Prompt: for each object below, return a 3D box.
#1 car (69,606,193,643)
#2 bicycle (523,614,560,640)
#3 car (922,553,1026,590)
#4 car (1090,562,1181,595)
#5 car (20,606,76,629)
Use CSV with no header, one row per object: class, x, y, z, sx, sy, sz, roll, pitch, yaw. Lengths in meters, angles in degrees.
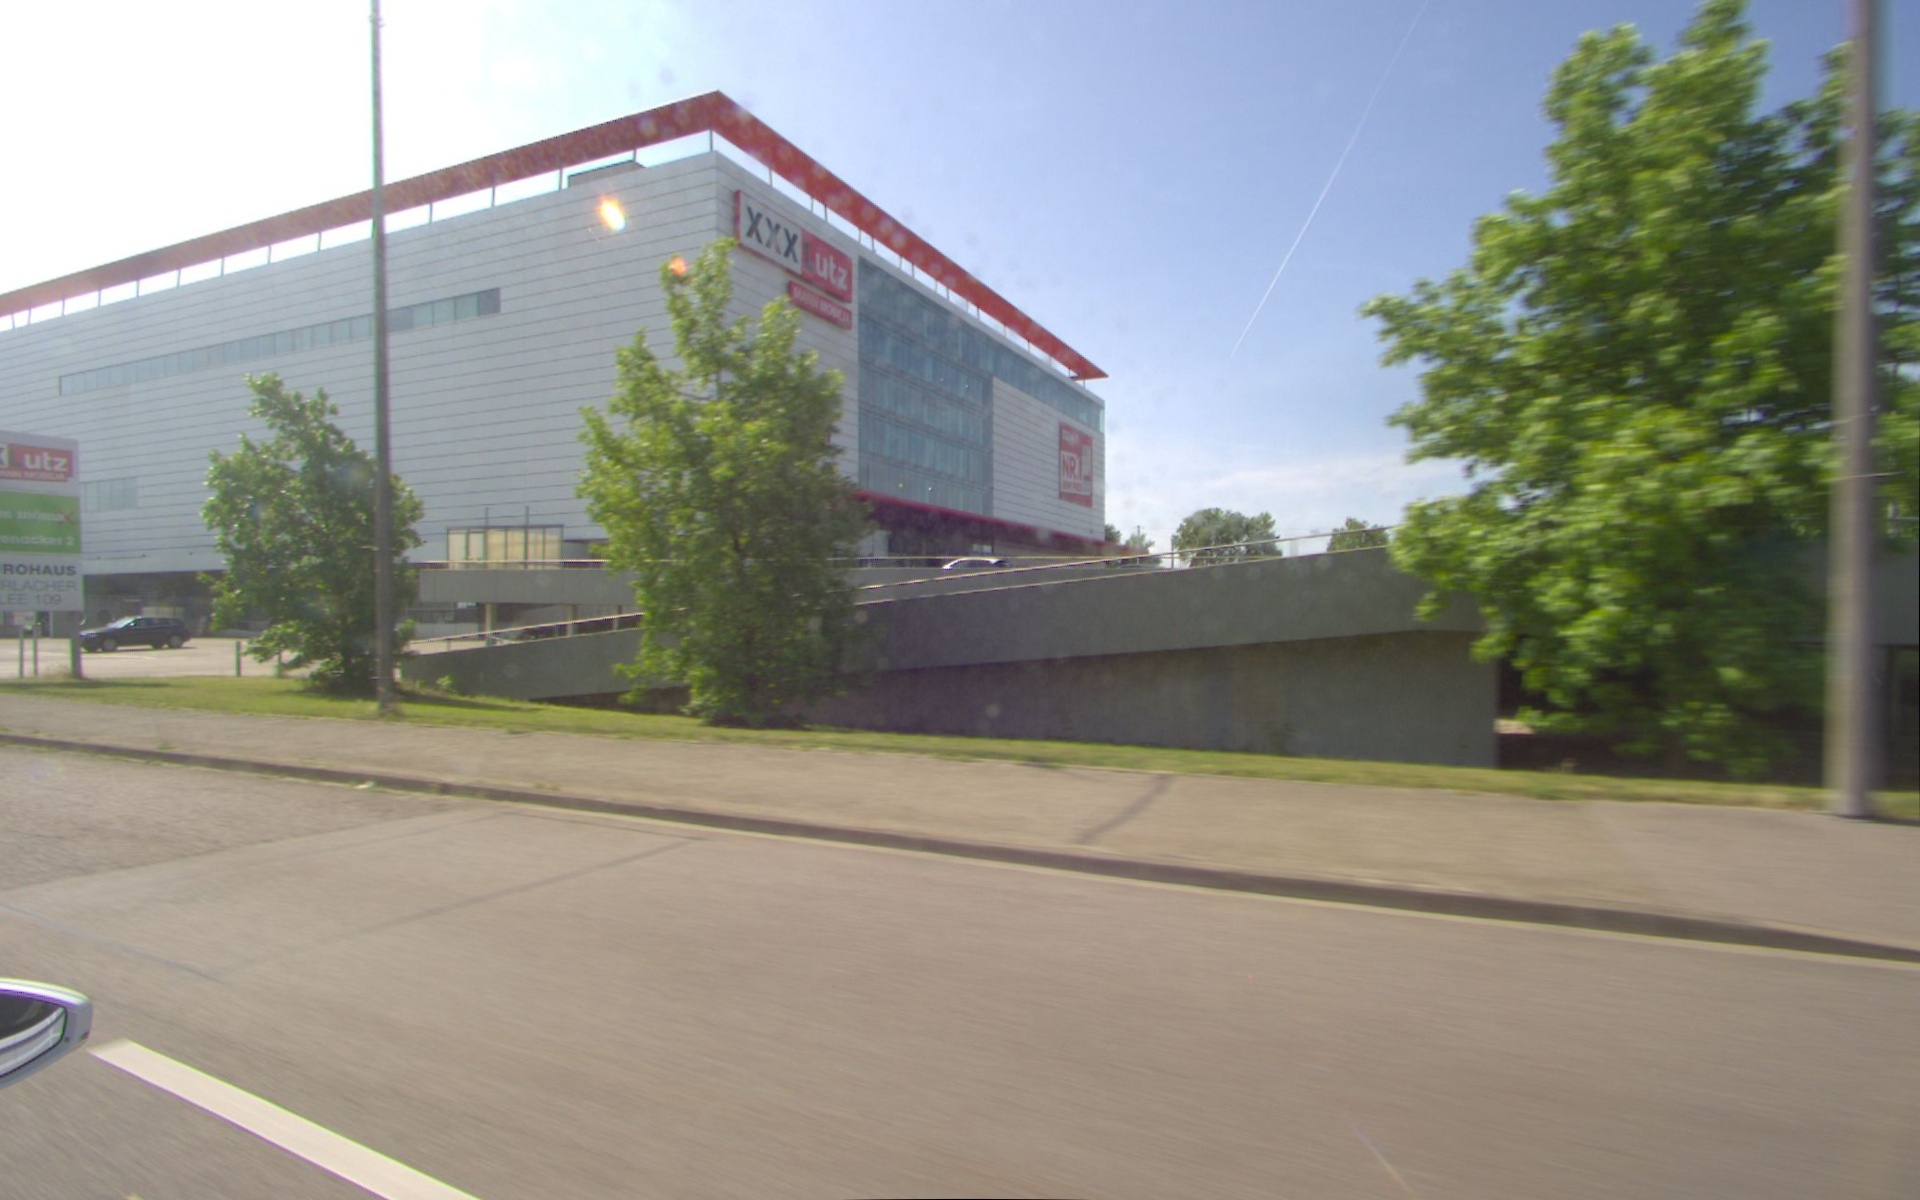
car,-41.381,1.176,50.124,1.807,1.636,4.422,1,1,24
bicycle,-18.367,1.181,43.941,1.681,1.074,0.511,1,0,28
car,0.584,-1.199,42.905,4.133,1.438,1.770,0,0,27
car,8.316,-0.995,47.438,3.941,1.438,1.799,0,0,24
car,-64.267,1.226,70.585,4.029,1.529,1.672,0,-1,28
